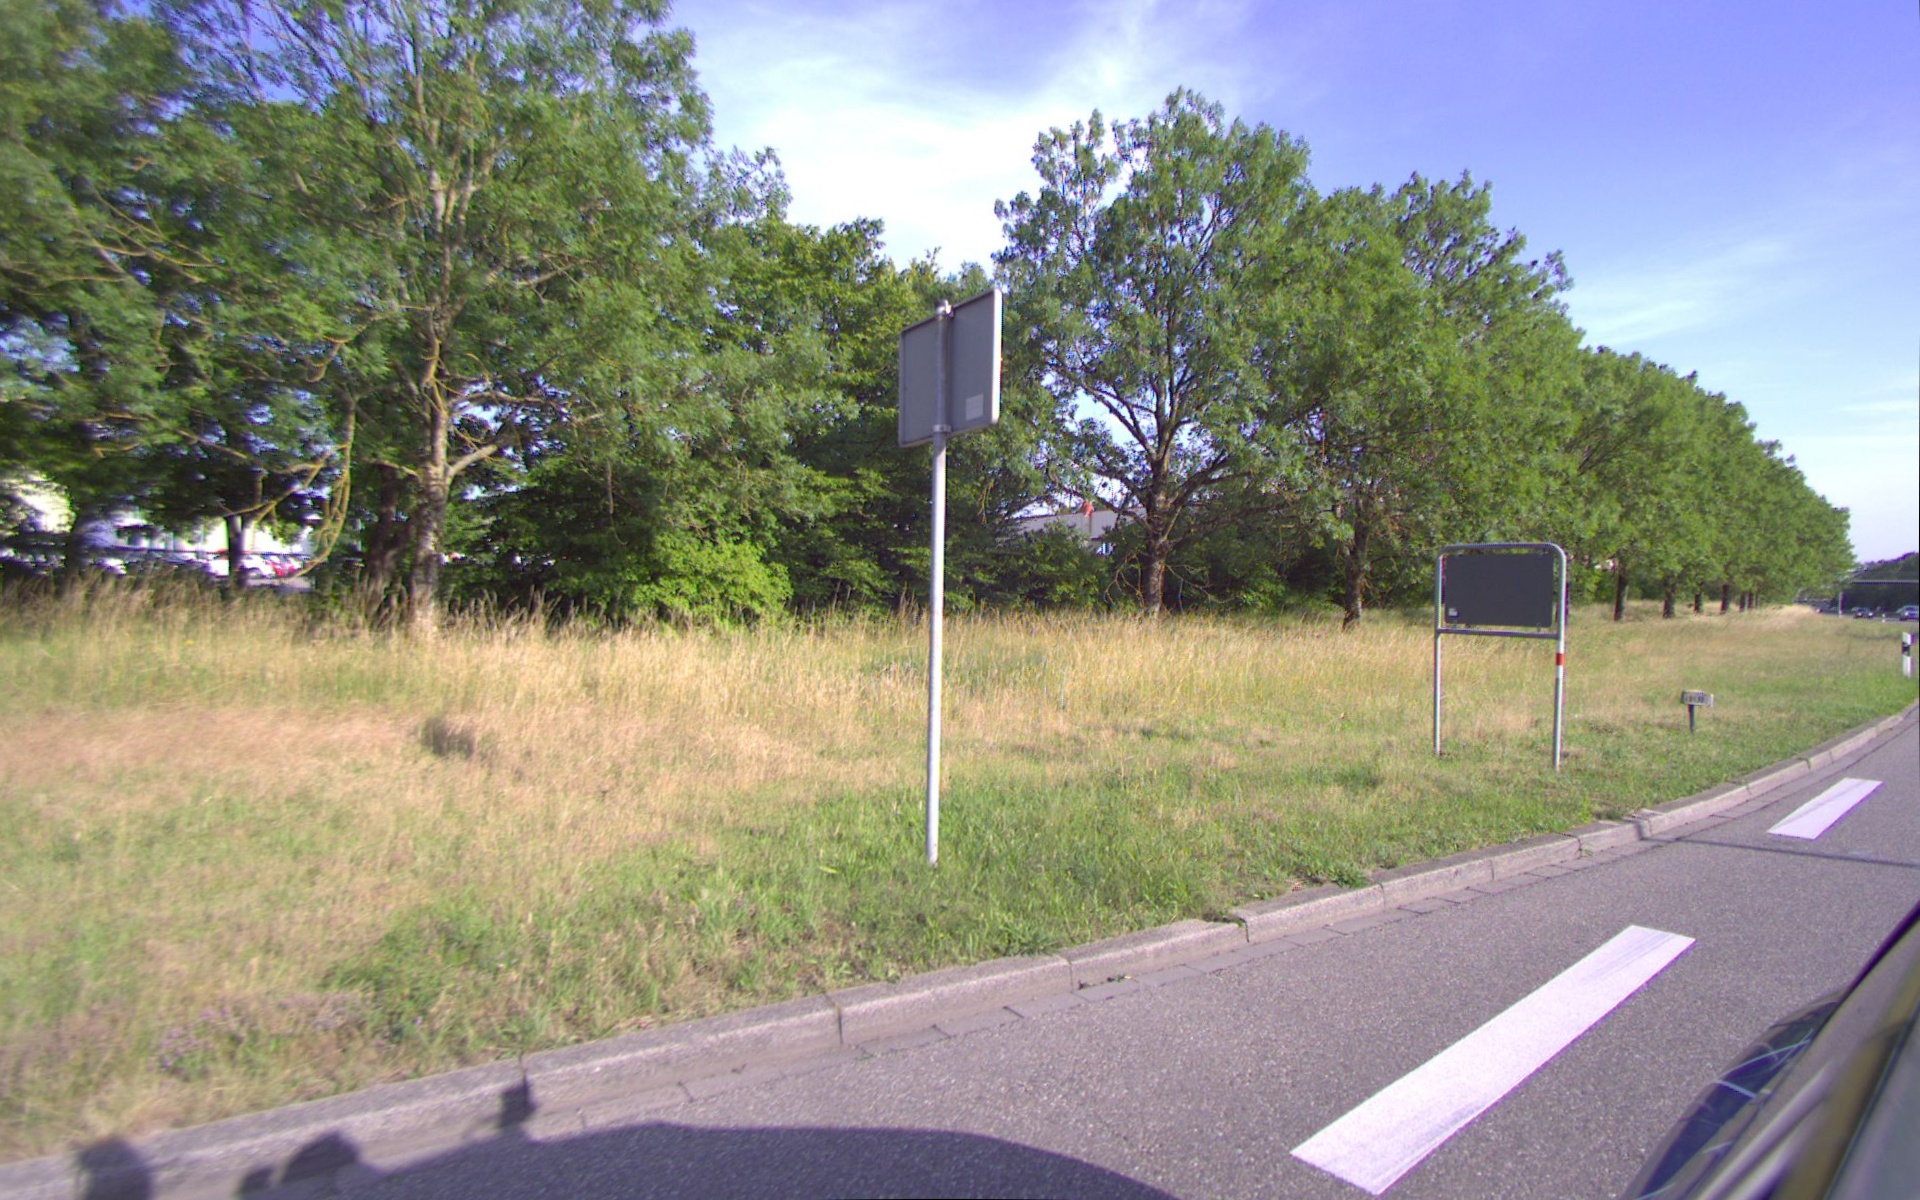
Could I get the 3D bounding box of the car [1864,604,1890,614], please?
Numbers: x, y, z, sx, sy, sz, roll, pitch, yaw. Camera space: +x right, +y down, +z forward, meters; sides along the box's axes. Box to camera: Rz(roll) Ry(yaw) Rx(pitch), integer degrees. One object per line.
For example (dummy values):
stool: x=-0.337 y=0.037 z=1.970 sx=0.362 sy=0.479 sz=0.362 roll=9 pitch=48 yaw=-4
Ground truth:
car: x=122.341 y=1.191 z=135.058 sx=1.889 sy=1.403 sz=4.303 roll=0 pitch=0 yaw=34

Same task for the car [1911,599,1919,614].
car: x=115.733 y=0.785 z=121.261 sx=1.889 sy=1.847 sz=4.303 roll=0 pitch=0 yaw=34
